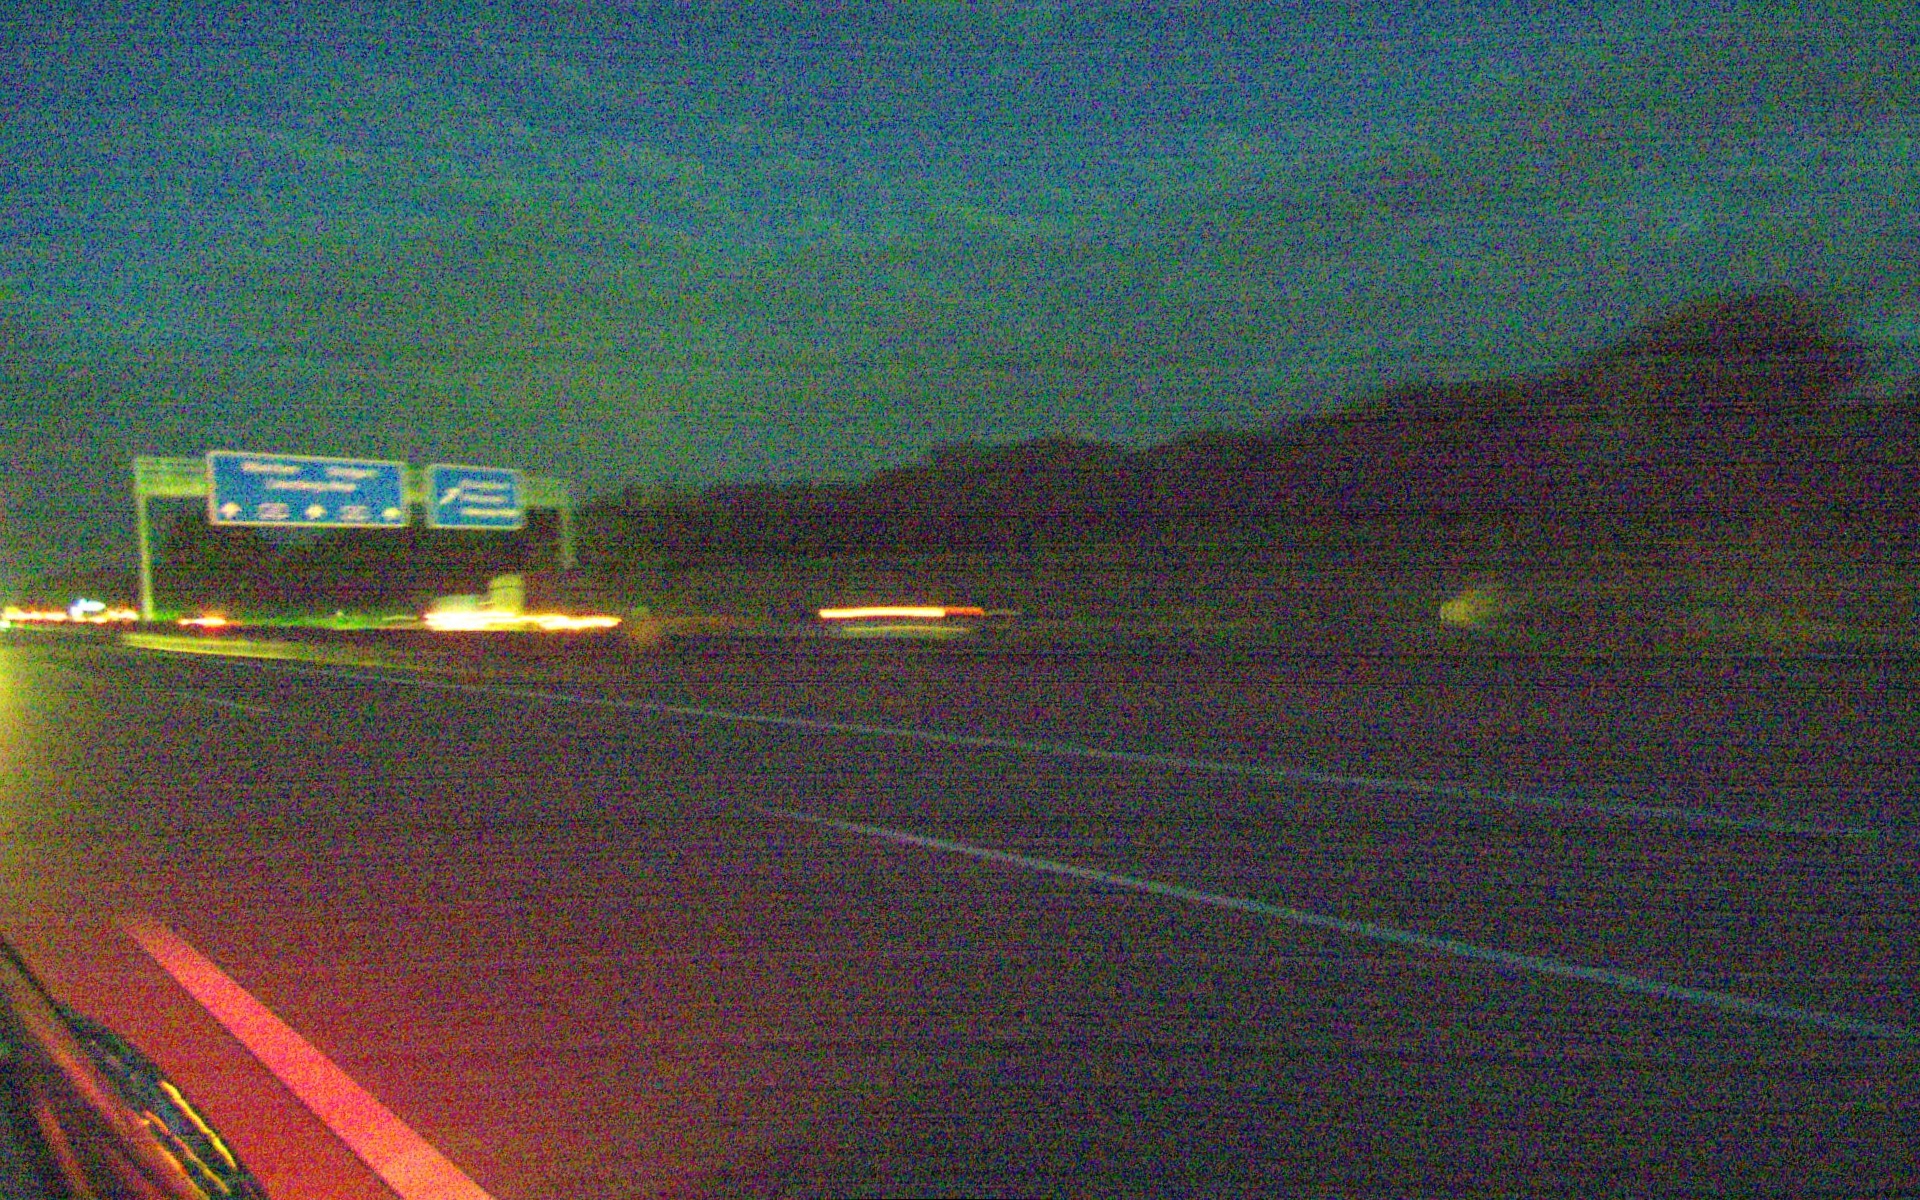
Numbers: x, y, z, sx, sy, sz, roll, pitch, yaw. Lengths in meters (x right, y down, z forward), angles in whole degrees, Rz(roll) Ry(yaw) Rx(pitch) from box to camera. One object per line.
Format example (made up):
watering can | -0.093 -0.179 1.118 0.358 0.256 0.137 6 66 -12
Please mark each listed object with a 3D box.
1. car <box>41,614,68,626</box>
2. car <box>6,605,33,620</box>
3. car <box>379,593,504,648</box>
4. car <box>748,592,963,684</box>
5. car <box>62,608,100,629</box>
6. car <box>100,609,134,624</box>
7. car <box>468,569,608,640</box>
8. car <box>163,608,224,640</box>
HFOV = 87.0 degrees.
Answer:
car | -120.728 2.668 134.911 5.199 1.520 1.973 -1 0 40
car | -113.594 1.506 122.206 4.658 1.747 1.972 -1 0 42
car | -19.600 0.760 38.170 5.417 1.899 2.125 -1 0 38
car | -2.335 0.753 21.778 4.657 1.747 1.973 -1 0 42
car | -76.228 1.622 87.745 4.658 1.747 1.972 -1 0 42
car | -86.133 1.681 103.337 5.184 1.520 1.972 -1 0 42
car | -19.187 0.243 45.718 8.329 2.958 2.432 -1 0 42
car | -44.588 1.374 58.833 4.658 1.747 1.972 -1 0 42
